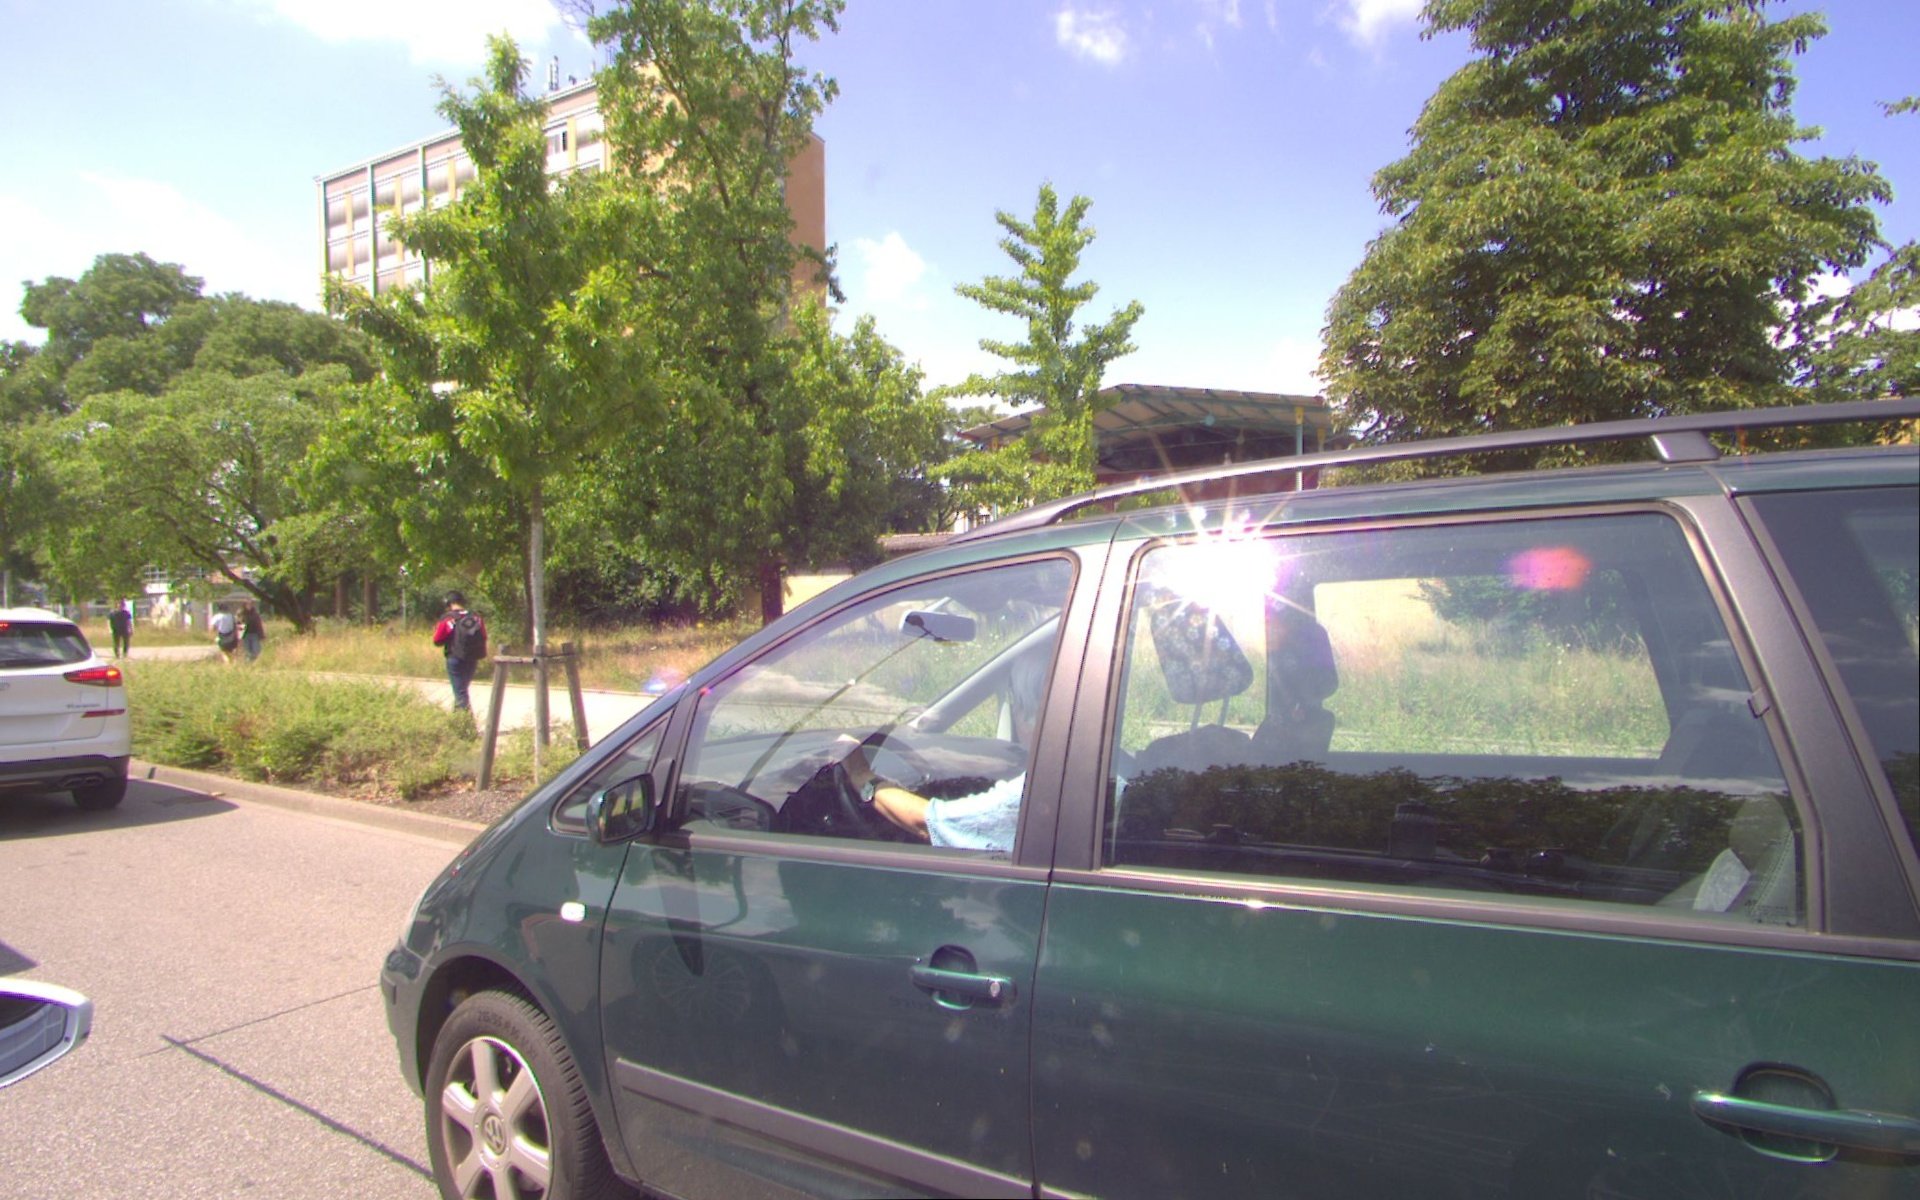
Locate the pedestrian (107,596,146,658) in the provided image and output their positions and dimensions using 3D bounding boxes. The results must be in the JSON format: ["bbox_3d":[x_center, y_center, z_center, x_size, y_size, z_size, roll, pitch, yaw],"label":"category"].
[{"bbox_3d":[-24.786,0.789,29.772,0.806,1.813,0.755,0,0,40],"label":"pedestrian"}]

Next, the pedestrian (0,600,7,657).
[{"bbox_3d":[-31.948,0.951,32.908,0.805,1.874,0.756,0,1,36],"label":"pedestrian"}]

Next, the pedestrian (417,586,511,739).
[{"bbox_3d":[-5.814,0.699,11.737,0.807,1.706,0.754,0,1,44],"label":"pedestrian"}]

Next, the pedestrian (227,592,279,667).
[{"bbox_3d":[-16.168,0.659,22.900,0.805,1.677,0.756,0,1,36],"label":"pedestrian"}]

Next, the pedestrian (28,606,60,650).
[{"bbox_3d":[-39.853,1.205,43.584,0.803,1.874,0.759,0,1,24],"label":"pedestrian"}]

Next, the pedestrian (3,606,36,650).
[{"bbox_3d":[-40.067,1.175,42.668,0.802,1.874,0.759,0,1,22],"label":"pedestrian"}]

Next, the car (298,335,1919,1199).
[{"bbox_3d":[0.557,0.645,2.285,4.329,1.737,1.799,0,-2,32],"label":"car"}]

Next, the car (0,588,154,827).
[{"bbox_3d":[-8.454,0.776,8.211,3.919,1.700,1.810,0,0,34],"label":"car"}]

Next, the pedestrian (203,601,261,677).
[{"bbox_3d":[-15.544,0.809,21.381,0.805,1.578,0.757,0,1,34],"label":"pedestrian"}]
